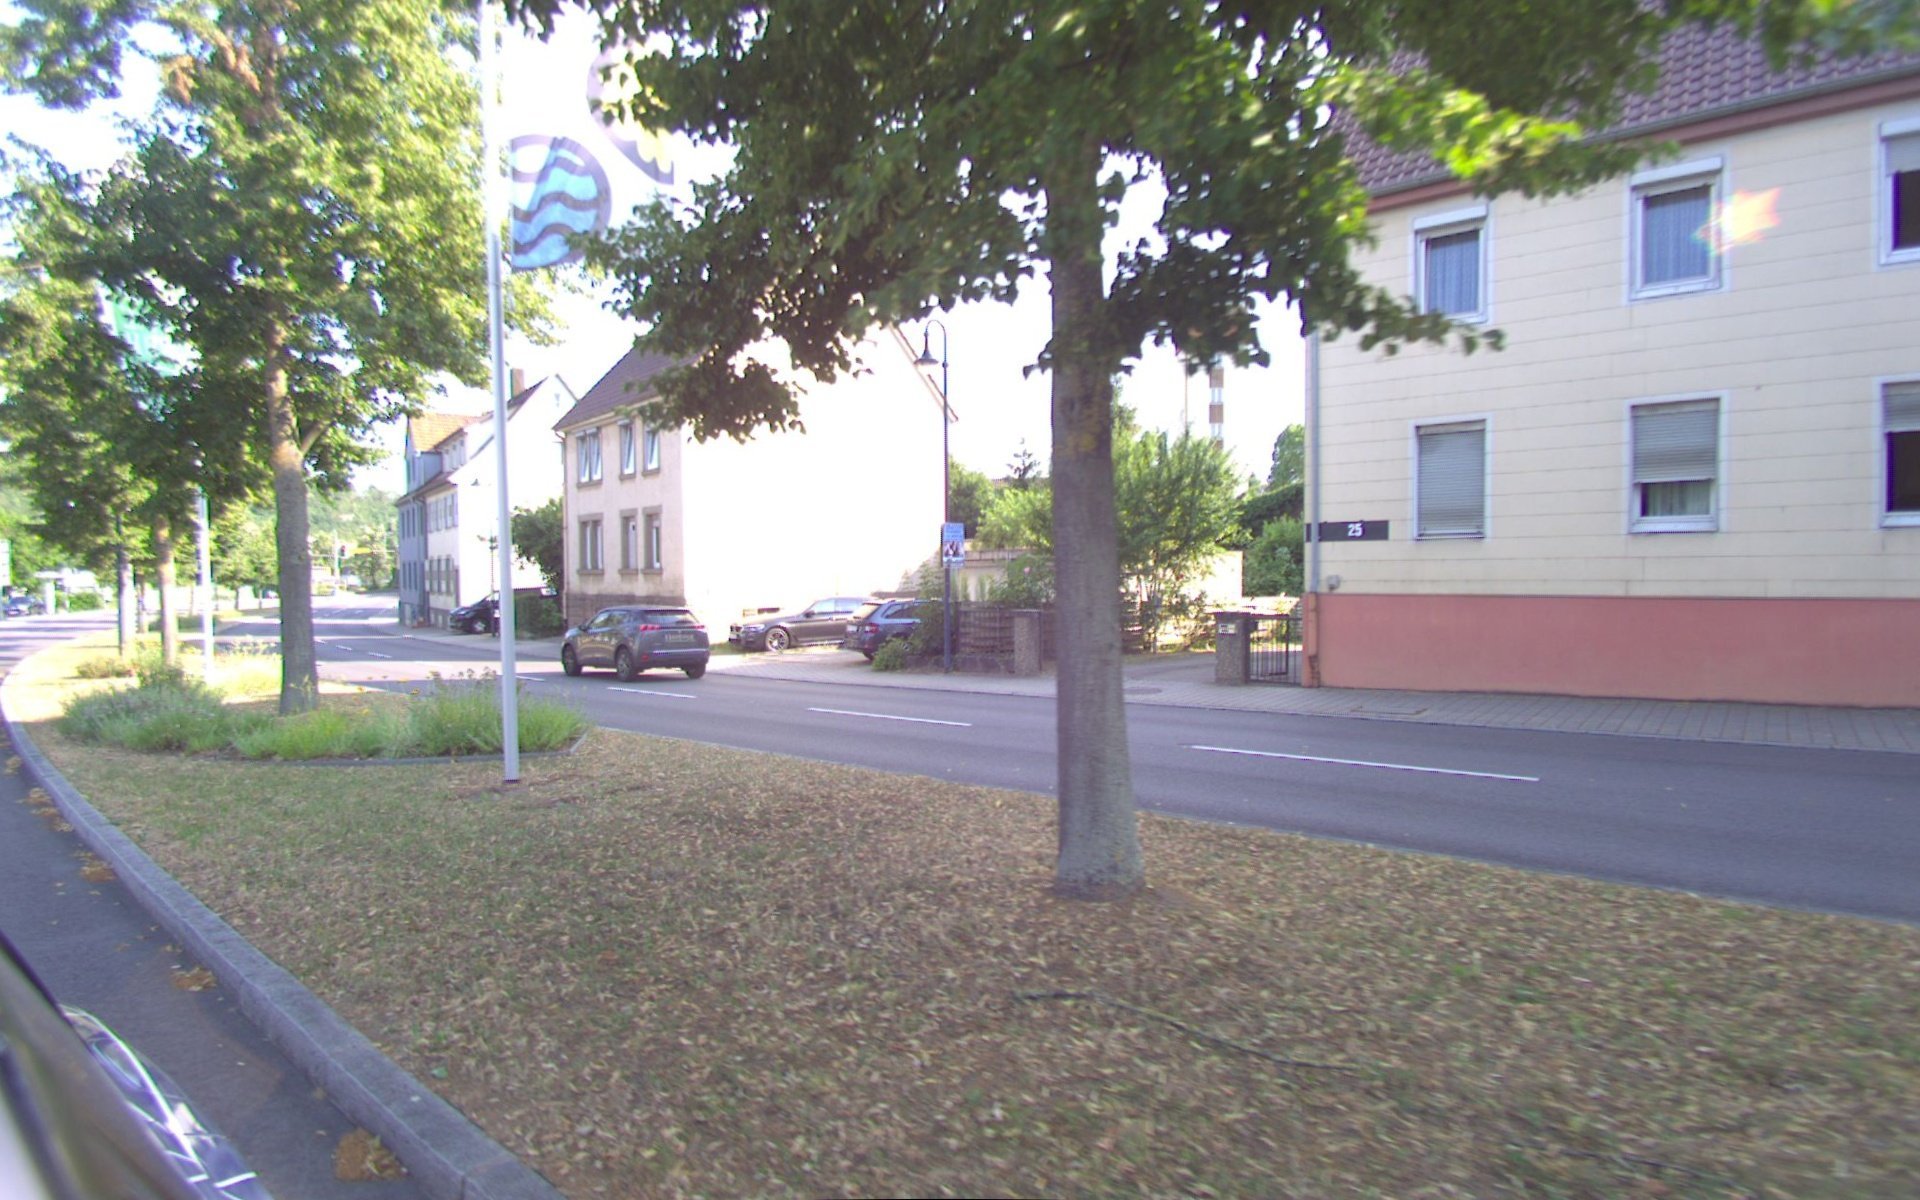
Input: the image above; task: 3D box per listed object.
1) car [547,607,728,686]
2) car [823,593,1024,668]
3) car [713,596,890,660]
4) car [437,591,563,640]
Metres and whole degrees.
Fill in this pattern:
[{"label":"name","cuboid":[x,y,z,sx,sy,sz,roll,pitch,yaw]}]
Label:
[{"label":"car","cuboid":[-6.968,0.918,21.612,4.327,1.497,1.918,-1,-1,45]},{"label":"car","cuboid":[-0.842,0.664,23.914,4.286,1.497,1.952,-2,0,-30]},{"label":"car","cuboid":[-4.294,0.697,27.569,4.287,1.497,2.017,-2,1,-31]},{"label":"car","cuboid":[-20.553,0.651,45.255,4.761,1.891,2.005,-4,2,-36]}]
